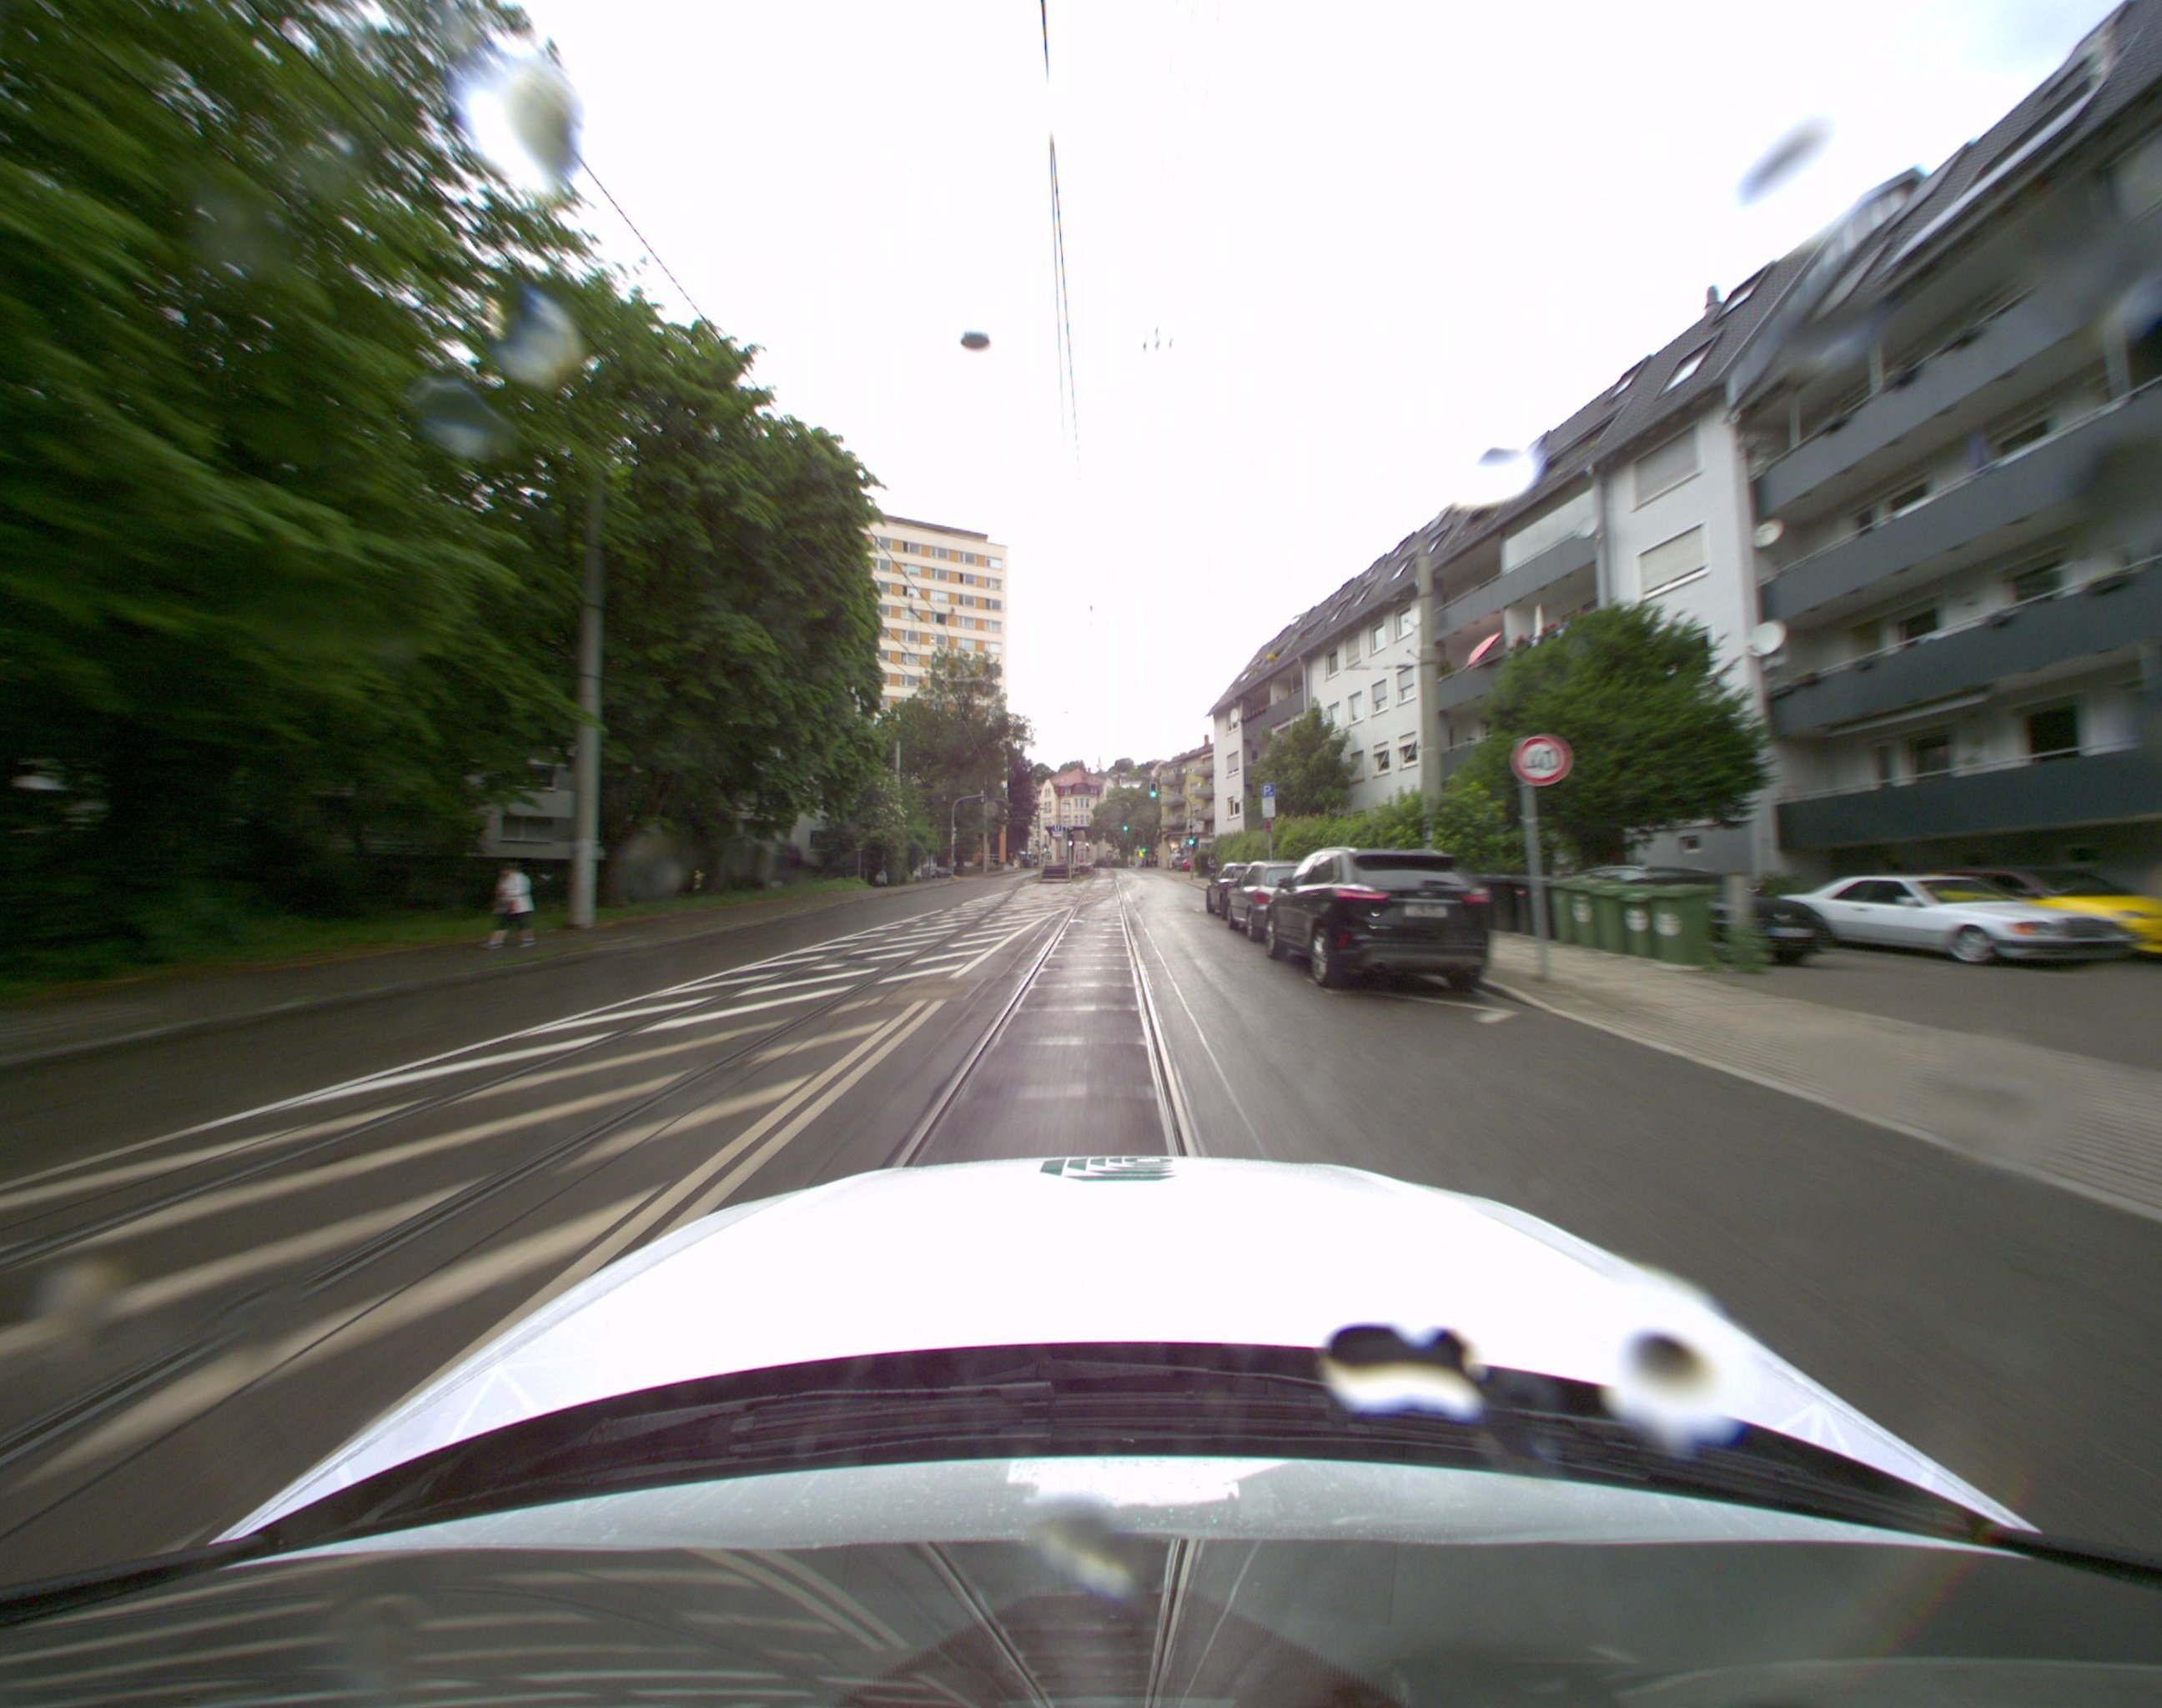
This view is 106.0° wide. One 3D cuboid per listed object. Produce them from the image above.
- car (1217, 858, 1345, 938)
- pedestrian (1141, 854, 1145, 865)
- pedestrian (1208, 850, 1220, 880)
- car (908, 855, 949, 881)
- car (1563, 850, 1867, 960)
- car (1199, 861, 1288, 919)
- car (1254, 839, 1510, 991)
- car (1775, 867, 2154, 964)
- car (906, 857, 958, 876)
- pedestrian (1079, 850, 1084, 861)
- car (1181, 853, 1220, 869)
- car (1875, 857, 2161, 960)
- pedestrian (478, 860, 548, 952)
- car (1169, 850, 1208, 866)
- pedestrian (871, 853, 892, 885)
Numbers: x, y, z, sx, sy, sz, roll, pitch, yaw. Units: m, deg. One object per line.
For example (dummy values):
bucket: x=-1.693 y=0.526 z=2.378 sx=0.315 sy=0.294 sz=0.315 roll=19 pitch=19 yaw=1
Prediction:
car: x=3.986 y=0.816 z=16.902 sx=1.698 sy=1.428 sz=4.251 roll=0 pitch=0 yaw=1
pedestrian: x=8.705 y=0.769 z=114.406 sx=0.577 sy=1.467 sz=0.542 roll=1 pitch=-4 yaw=-6
pedestrian: x=7.337 y=0.618 z=44.953 sx=0.641 sy=1.629 sz=0.700 roll=-1 pitch=-2 yaw=6
car: x=-11.281 y=1.072 z=60.435 sx=1.984 sy=1.684 sz=4.003 roll=0 pitch=-4 yaw=4
car: x=9.926 y=0.843 z=13.264 sx=1.714 sy=1.515 sz=4.203 roll=0 pitch=-4 yaw=1
car: x=4.308 y=0.909 z=22.122 sx=1.698 sy=1.426 sz=3.863 roll=0 pitch=-1 yaw=1
car: x=3.793 y=0.688 z=11.256 sx=1.899 sy=1.642 sz=4.690 roll=0 pitch=-1 yaw=1
car: x=14.656 y=0.923 z=13.990 sx=1.770 sy=1.379 sz=4.431 roll=-1 pitch=-1 yaw=1
car: x=-12.349 y=1.068 z=67.335 sx=3.951 sy=1.406 sz=1.692 roll=-2 pitch=-4 yaw=24
pedestrian: x=0.062 y=0.213 z=107.082 sx=0.654 sy=1.467 sz=0.773 roll=0 pitch=-4 yaw=4
car: x=12.292 y=0.730 z=84.051 sx=3.829 sy=1.543 sz=1.807 roll=0 pitch=-2 yaw=0
car: x=16.781 y=0.834 z=14.278 sx=1.678 sy=1.521 sz=4.205 roll=-1 pitch=-1 yaw=1
pedestrian: x=-10.202 y=0.916 z=14.650 sx=0.581 sy=1.600 sz=0.868 roll=2 pitch=-1 yaw=-2
car: x=11.585 y=0.471 z=87.761 sx=3.973 sy=1.646 sz=1.807 roll=0 pitch=-2 yaw=1
pedestrian: x=-10.650 y=0.819 z=43.477 sx=0.921 sy=1.678 sz=0.733 roll=2 pitch=-5 yaw=-29
